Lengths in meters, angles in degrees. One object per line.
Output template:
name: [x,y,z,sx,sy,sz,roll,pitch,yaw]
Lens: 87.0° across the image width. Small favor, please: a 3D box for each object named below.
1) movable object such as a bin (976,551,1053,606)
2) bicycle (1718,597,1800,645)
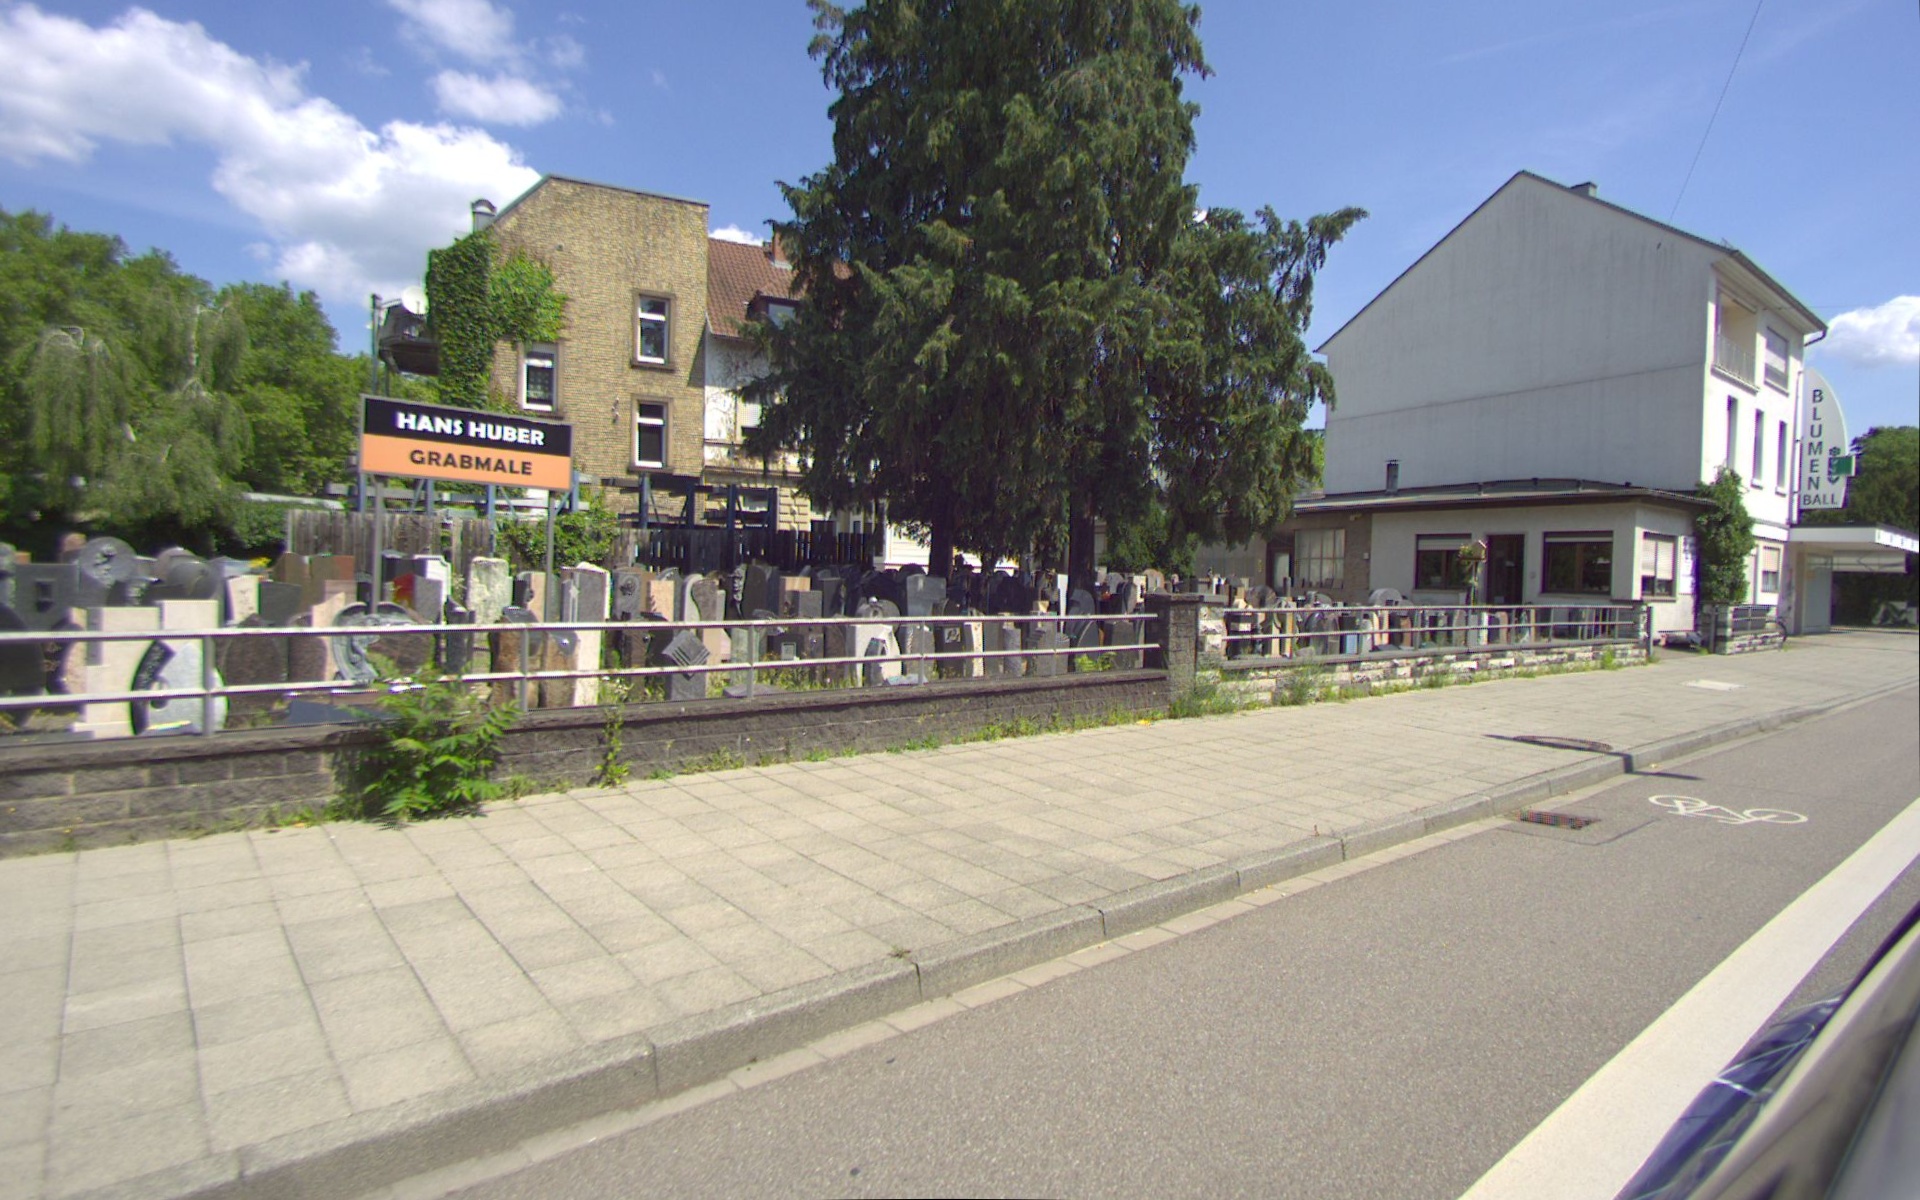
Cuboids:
movable object such as a bin: [2.387,-0.965,44.572,2.703,2.296,2.004,1,2,-26]
bicycle: [20.639,0.520,26.171,0.421,1.099,1.539,1,3,-33]
